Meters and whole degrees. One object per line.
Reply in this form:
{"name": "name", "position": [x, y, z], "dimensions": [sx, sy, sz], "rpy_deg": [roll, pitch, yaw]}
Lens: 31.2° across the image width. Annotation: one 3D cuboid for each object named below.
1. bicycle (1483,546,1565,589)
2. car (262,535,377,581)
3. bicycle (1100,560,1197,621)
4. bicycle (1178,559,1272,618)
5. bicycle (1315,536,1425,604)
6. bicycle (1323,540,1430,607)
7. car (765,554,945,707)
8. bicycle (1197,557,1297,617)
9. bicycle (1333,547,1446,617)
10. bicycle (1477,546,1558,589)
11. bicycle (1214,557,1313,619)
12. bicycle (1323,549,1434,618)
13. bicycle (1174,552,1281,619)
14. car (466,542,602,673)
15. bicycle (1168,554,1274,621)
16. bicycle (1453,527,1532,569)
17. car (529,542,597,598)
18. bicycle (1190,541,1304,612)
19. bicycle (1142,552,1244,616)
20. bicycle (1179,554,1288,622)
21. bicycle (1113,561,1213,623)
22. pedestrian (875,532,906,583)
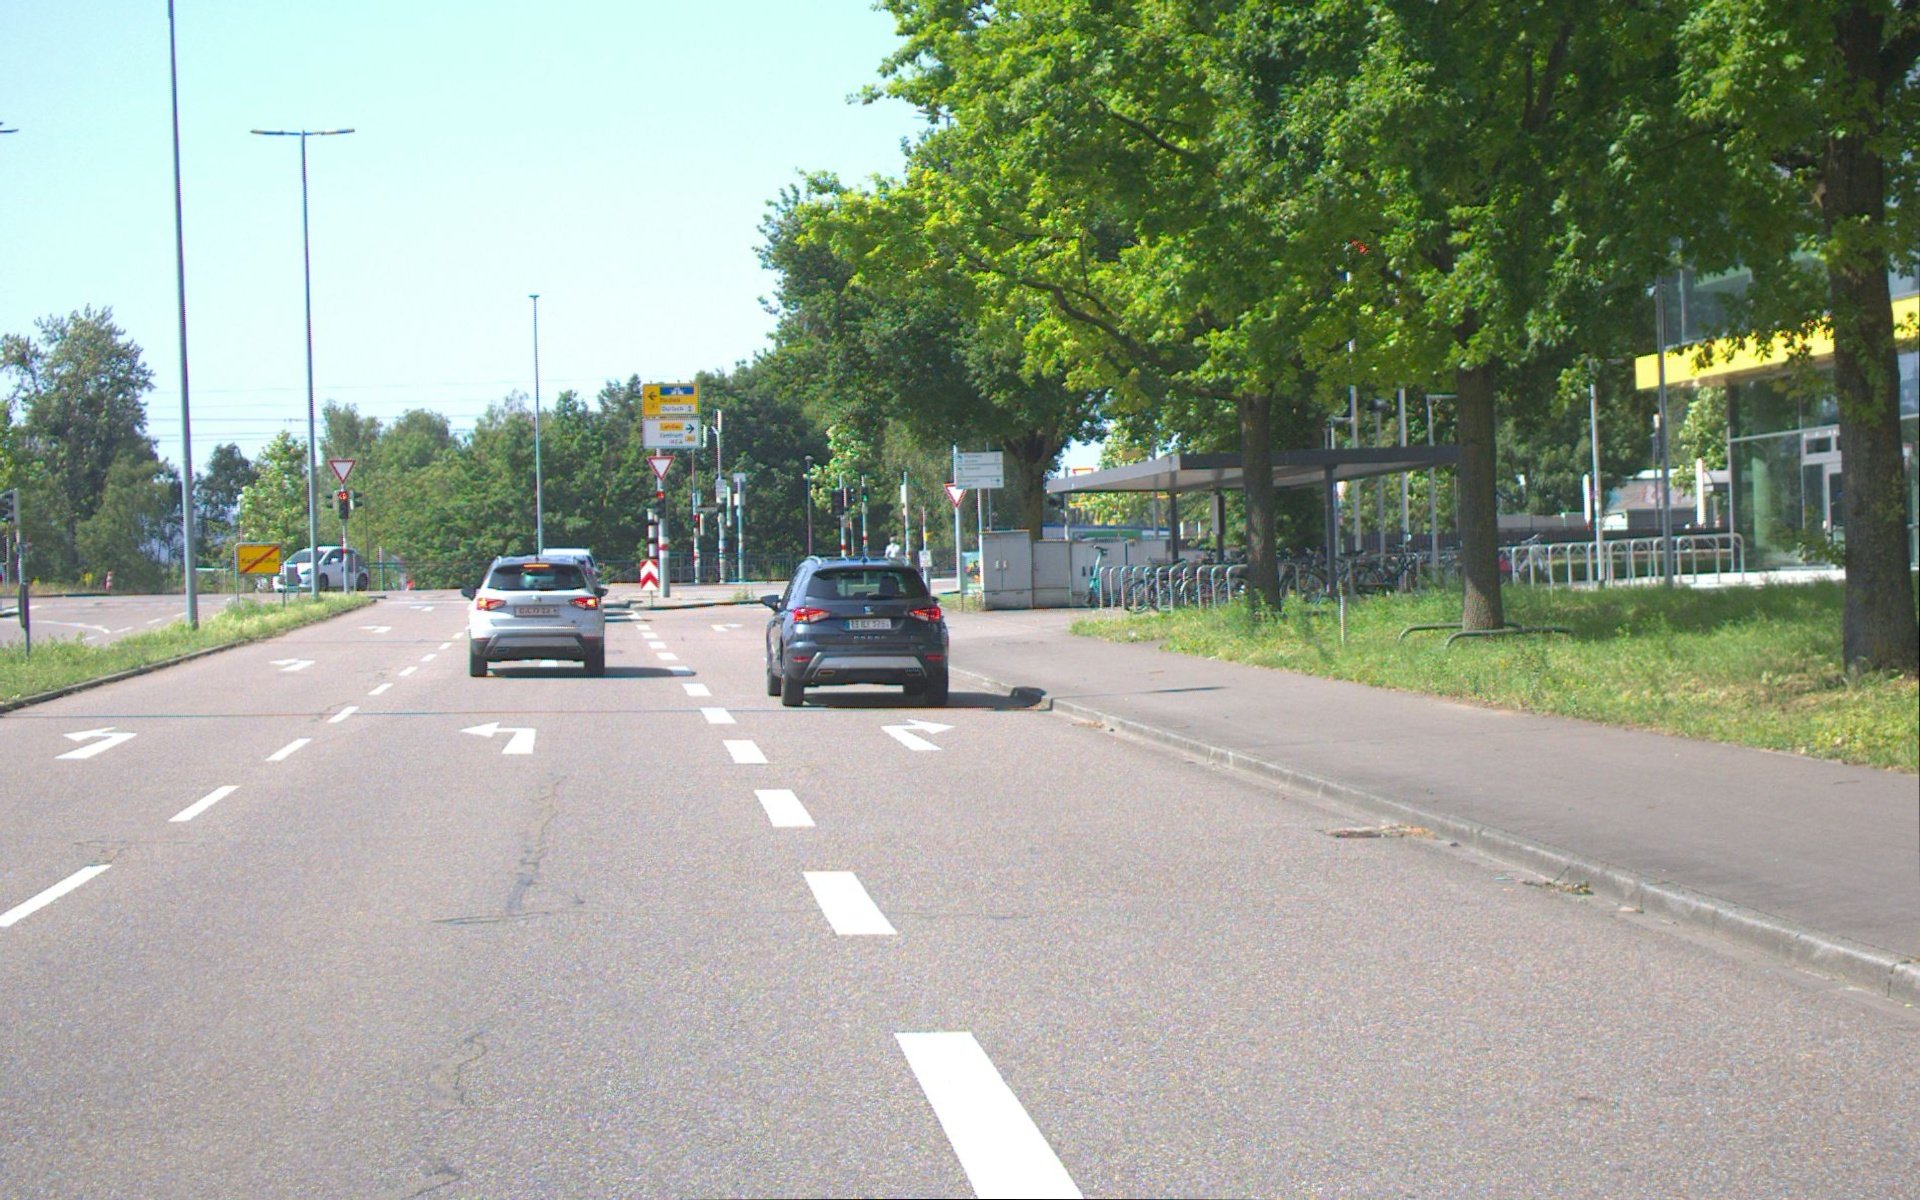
{"name": "bicycle", "position": [11.447, -0.666, 69.761], "dimensions": [1.561, 0.840, 0.434], "rpy_deg": [-1, 1, -4]}
{"name": "car", "position": [-22.213, -1.451, 119.366], "dimensions": [1.796, 1.541, 4.081], "rpy_deg": [-1, 0, 26]}
{"name": "bicycle", "position": [3.604, -0.181, 65.715], "dimensions": [1.758, 1.092, 0.452], "rpy_deg": [-2, 1, -6]}
{"name": "bicycle", "position": [5.165, -0.222, 67.026], "dimensions": [1.758, 1.092, 0.452], "rpy_deg": [-2, 1, -6]}
{"name": "bicycle", "position": [6.980, -0.508, 58.541], "dimensions": [1.758, 1.092, 0.452], "rpy_deg": [-2, 1, -6]}
{"name": "bicycle", "position": [7.234, -0.464, 59.699], "dimensions": [1.758, 1.092, 0.452], "rpy_deg": [-2, 1, -6]}
{"name": "car", "position": [-1.146, 0.284, 36.118], "dimensions": [1.669, 1.518, 3.377], "rpy_deg": [0, 1, -5]}
{"name": "bicycle", "position": [5.489, -0.255, 65.784], "dimensions": [1.828, 1.092, 0.452], "rpy_deg": [-2, 1, -6]}
{"name": "bicycle", "position": [7.043, -0.295, 56.403], "dimensions": [1.758, 1.092, 0.452], "rpy_deg": [-2, 1, -6]}
{"name": "bicycle", "position": [11.443, -0.661, 70.589], "dimensions": [1.561, 0.840, 0.434], "rpy_deg": [-1, 1, -4]}
{"name": "bicycle", "position": [5.685, -0.225, 64.433], "dimensions": [1.758, 1.092, 0.452], "rpy_deg": [-2, 1, -6]}
{"name": "bicycle", "position": [7.017, -0.277, 57.591], "dimensions": [1.758, 1.092, 0.452], "rpy_deg": [-2, 1, -6]}
{"name": "bicycle", "position": [4.613, -0.247, 59.348], "dimensions": [1.758, 1.092, 0.452], "rpy_deg": [-2, 1, -6]}
{"name": "car", "position": [-5.512, 0.059, 44.836], "dimensions": [1.630, 1.493, 3.871], "rpy_deg": [-1, 3, -5]}
{"name": "bicycle", "position": [4.555, -0.222, 59.922], "dimensions": [1.758, 1.092, 0.452], "rpy_deg": [-2, 1, -6]}
{"name": "bicycle", "position": [11.203, -1.092, 72.314], "dimensions": [1.561, 0.840, 0.434], "rpy_deg": [-1, 1, -2]}
{"name": "car", "position": [-10.544, -0.819, 91.473], "dimensions": [1.741, 1.443, 4.390], "rpy_deg": [-1, 1, -6]}
{"name": "bicycle", "position": [4.675, -0.382, 56.090], "dimensions": [1.758, 1.092, 0.452], "rpy_deg": [-2, 1, -6]}
{"name": "bicycle", "position": [4.208, -0.285, 62.140], "dimensions": [1.758, 1.092, 0.452], "rpy_deg": [-2, 1, -6]}
{"name": "bicycle", "position": [4.644, -0.200, 58.409], "dimensions": [1.758, 1.092, 0.452], "rpy_deg": [-2, 1, -6]}
{"name": "bicycle", "position": [3.748, -0.151, 63.541], "dimensions": [1.758, 1.092, 0.452], "rpy_deg": [-2, 1, -6]}
{"name": "pedestrian", "position": [-2.107, -1.289, 104.315], "dimensions": [0.773, 1.505, 1.007], "rpy_deg": [-1, 2, 5]}
